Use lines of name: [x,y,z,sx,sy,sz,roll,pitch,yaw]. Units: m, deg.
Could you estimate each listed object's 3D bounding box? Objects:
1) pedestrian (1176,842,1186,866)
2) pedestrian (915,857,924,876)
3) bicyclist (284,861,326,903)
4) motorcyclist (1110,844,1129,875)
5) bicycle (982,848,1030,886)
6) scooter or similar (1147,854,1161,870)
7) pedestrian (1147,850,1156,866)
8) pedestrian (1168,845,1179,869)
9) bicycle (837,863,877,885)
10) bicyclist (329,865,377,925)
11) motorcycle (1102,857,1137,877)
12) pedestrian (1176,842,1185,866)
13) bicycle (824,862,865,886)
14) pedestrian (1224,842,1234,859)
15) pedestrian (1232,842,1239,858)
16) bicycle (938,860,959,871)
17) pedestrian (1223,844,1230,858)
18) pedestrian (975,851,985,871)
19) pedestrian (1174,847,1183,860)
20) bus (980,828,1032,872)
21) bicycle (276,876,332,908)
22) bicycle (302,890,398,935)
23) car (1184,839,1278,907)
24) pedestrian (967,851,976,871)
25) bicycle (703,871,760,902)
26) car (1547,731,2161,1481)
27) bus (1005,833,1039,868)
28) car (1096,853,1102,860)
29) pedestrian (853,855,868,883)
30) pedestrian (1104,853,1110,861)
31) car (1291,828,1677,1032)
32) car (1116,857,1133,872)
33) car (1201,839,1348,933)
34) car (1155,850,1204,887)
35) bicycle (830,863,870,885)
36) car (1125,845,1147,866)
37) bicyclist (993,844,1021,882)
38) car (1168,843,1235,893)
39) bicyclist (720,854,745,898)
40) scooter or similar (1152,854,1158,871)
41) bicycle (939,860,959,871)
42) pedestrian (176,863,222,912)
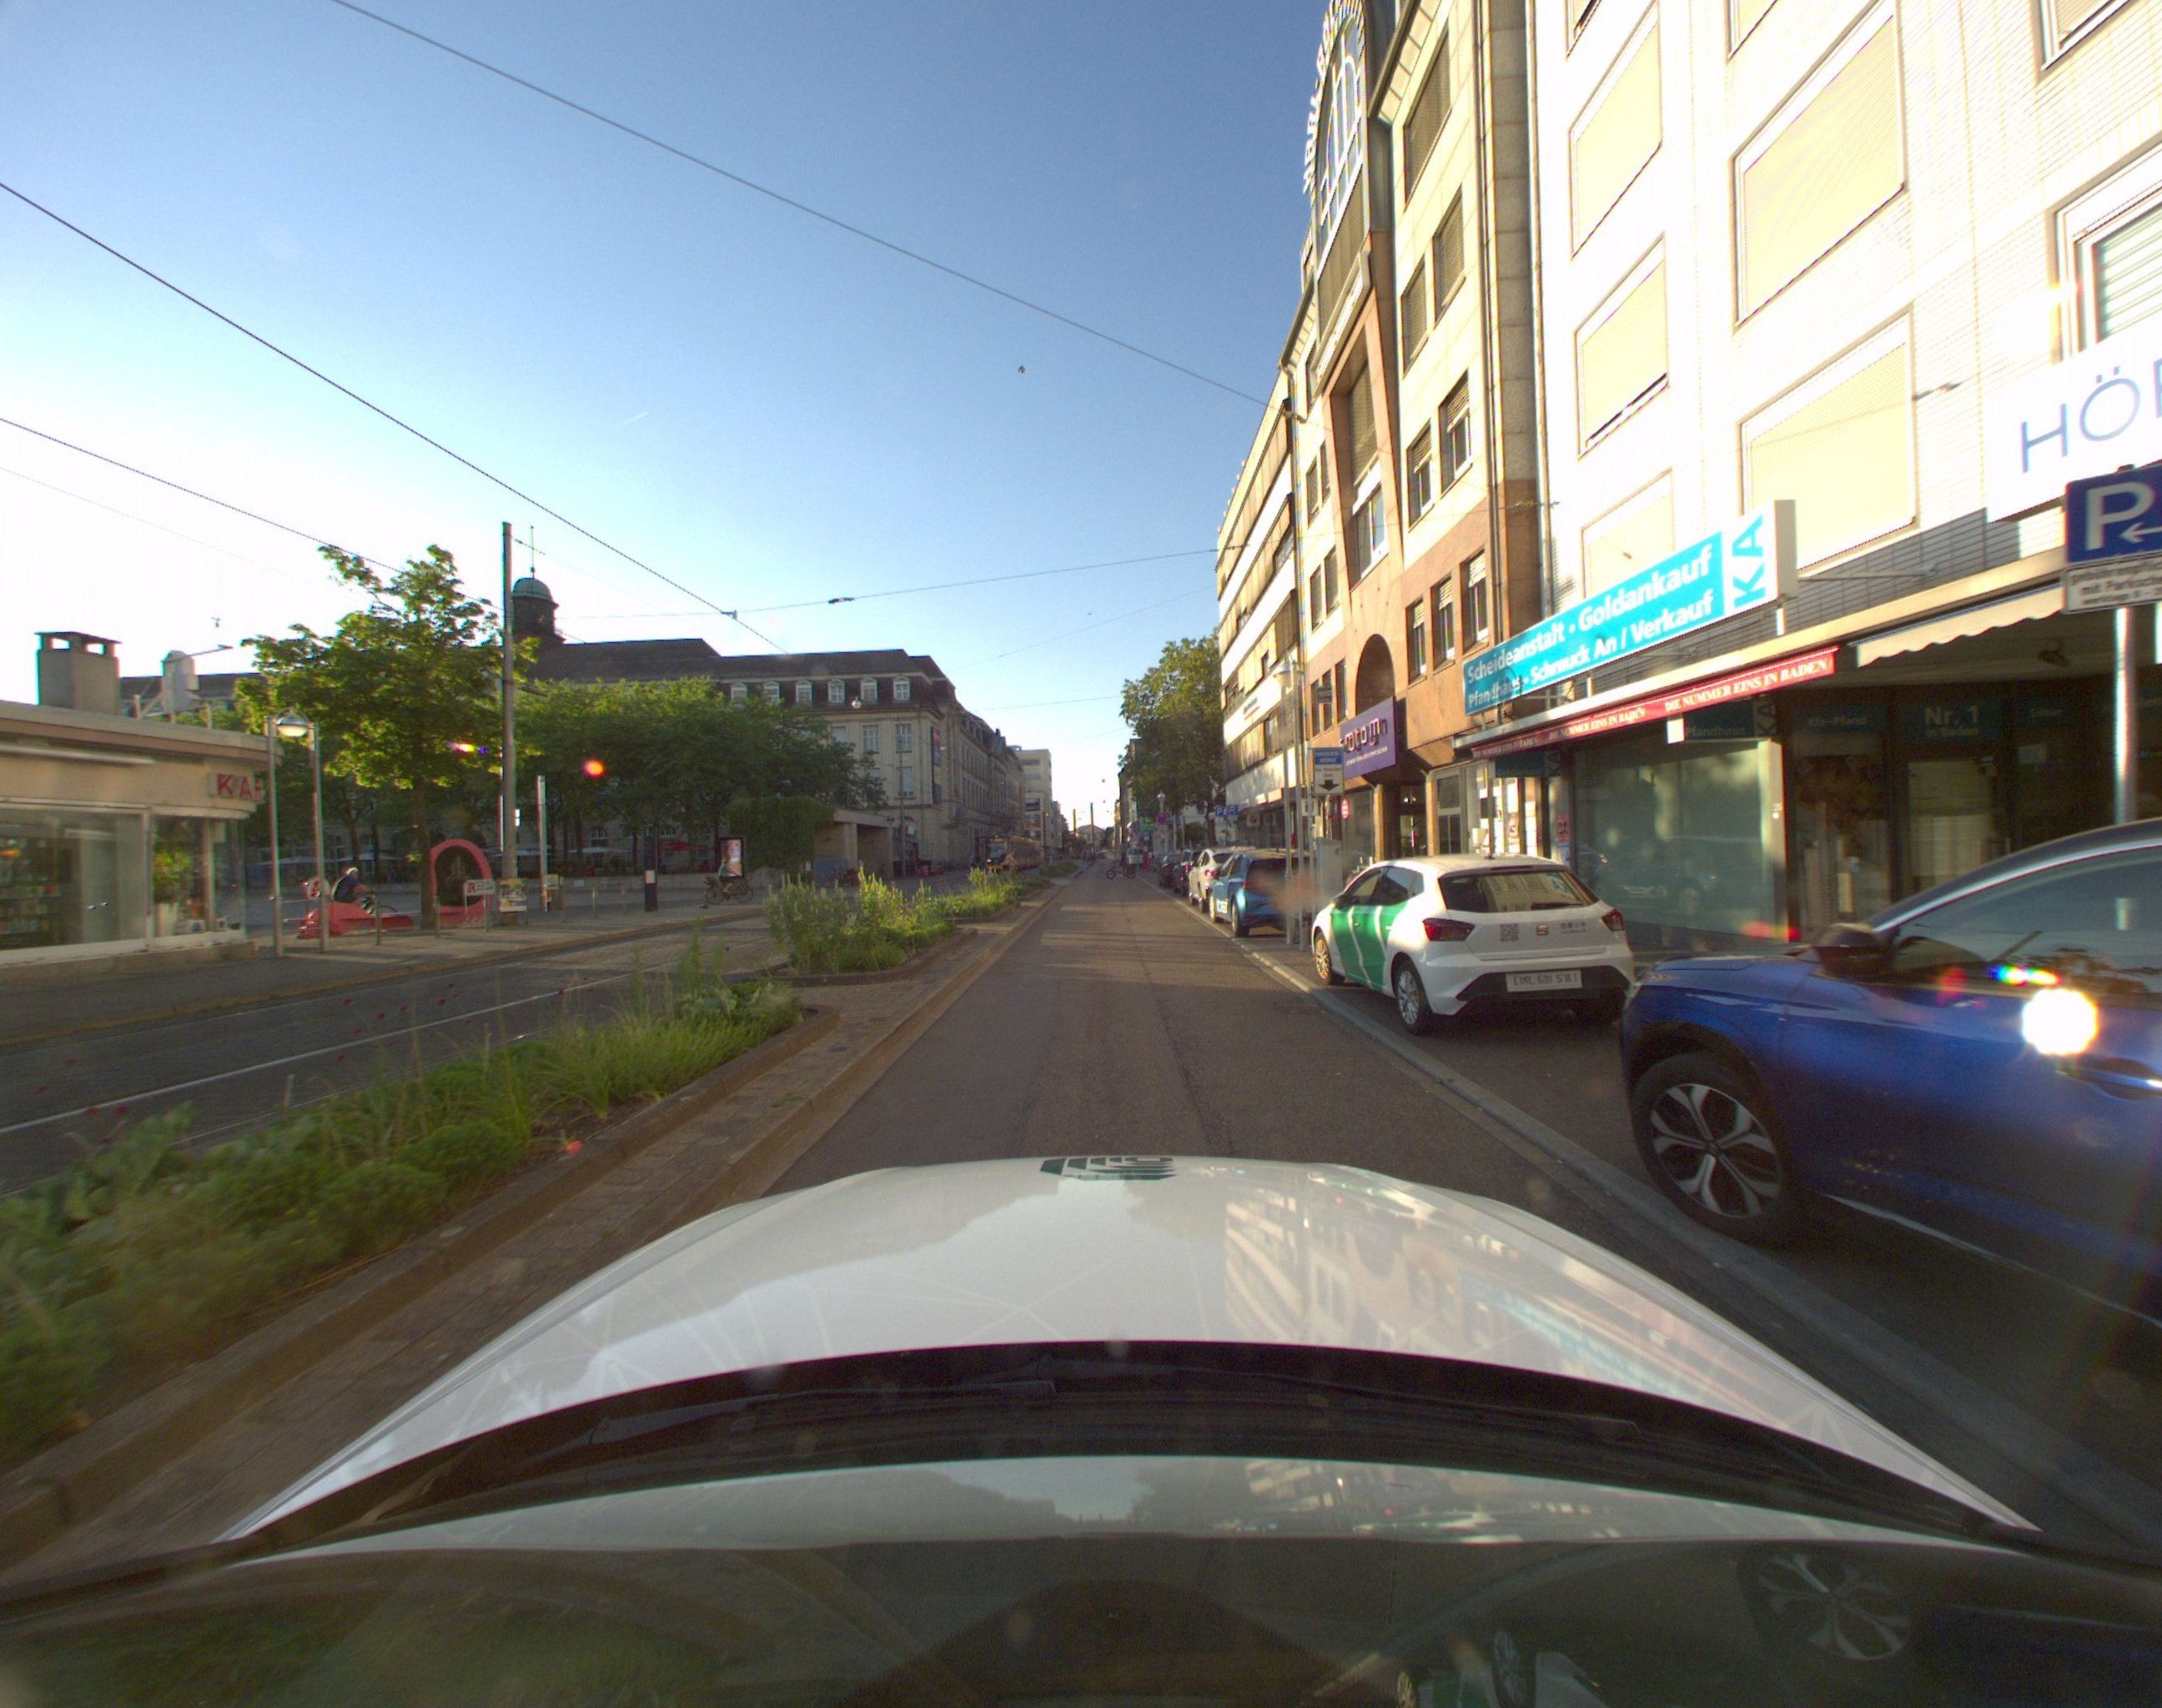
pedestrian: [7.253,0.000,59.024,0.675,1.717,0.655,-2,-2,3]
pedestrian: [-13.846,1.043,69.826,0.717,1.646,0.655,-1,0,-21]
bicyclist: [-38.923,1.396,40.859,0.955,2.018,1.143,-2,-2,0]
motorcyclist: [2.347,0.330,49.584,0.999,1.813,0.958,-2,-2,-3]
bicycle: [-3.633,0.607,39.547,2.381,1.740,0.596,-1,0,-43]
scooter or similar: [6.035,0.652,67.497,1.120,1.216,0.300,-3,-1,2]
pedestrian: [7.864,0.465,91.125,0.785,1.751,0.893,-2,-2,-6]
pedestrian: [7.001,0.213,61.571,0.711,1.803,0.825,-3,-1,4]
bicycle: [-13.947,1.246,50.708,2.233,1.232,0.585,-2,-1,1]
bicyclist: [-20.680,1.152,23.145,0.805,1.611,0.732,-3,0,-30]
motorcycle: [2.334,0.802,49.560,2.039,1.123,0.567,-2,-2,-4]
pedestrian: [7.286,0.028,59.690,0.611,1.717,0.662,-2,-2,3]
bicycle: [-13.815,1.148,47.508,2.189,1.300,0.580,-2,-2,1]
pedestrian: [12.053,-0.289,66.418,0.639,1.285,0.744,-3,-2,17]
pedestrian: [12.839,-0.296,67.657,0.470,1.285,0.542,-3,-2,17]
bicycle: [-14.006,1.212,86.040,2.092,1.148,0.574,-2,-2,-4]
pedestrian: [12.560,-0.253,70.170,0.470,1.242,0.542,-2,-2,16]
pedestrian: [-9.510,0.649,76.853,0.730,1.840,0.715,-2,-2,1]
pedestrian: [10.148,-0.094,84.914,0.820,1.306,0.869,-2,-2,0]
bus: [-6.967,-0.346,78.736,2.812,3.651,17.079,-2,0,2]
bicycle: [-39.036,1.904,40.940,2.234,1.476,0.579,-2,-1,0]
bicycle: [-20.707,1.636,23.102,1.934,1.112,0.456,-3,-1,-30]
car: [3.907,0.446,21.951,1.809,1.585,4.726,-2,0,3]
pedestrian: [-10.320,0.684,76.882,0.690,1.847,0.662,-2,-2,1]
bicycle: [-13.574,1.242,31.644,1.946,1.112,0.455,-1,-2,-39]
car: [3.178,0.515,1.894,1.759,1.605,4.288,-2,0,1]
bus: [-6.573,-0.407,91.438,2.812,3.624,8.293,-2,1,2]
car: [5.220,0.591,232.306,1.754,1.827,3.571,-2,-2,1]
pedestrian: [-15.432,1.054,57.058,0.721,1.934,0.793,-2,-2,4]
pedestrian: [6.199,0.650,195.860,1.231,1.928,1.017,-1,0,-15]
car: [3.507,0.603,8.081,1.725,1.435,4.151,-2,-1,0]
car: [5.641,1.372,105.502,1.986,1.761,4.422,-2,-1,1]
car: [3.658,0.543,16.290,1.803,1.552,4.836,-2,0,1]
car: [4.264,0.584,35.763,1.649,1.380,4.342,-5,0,2]
bicycle: [-13.896,1.212,49.036,2.233,1.255,0.580,-2,-2,1]
car: [5.387,0.177,80.648,1.908,1.981,4.422,-2,0,1]
bicyclist: [-3.582,0.432,39.507,0.936,1.776,0.960,-2,0,-34]
car: [4.246,0.435,29.235,1.769,1.538,4.579,-2,1,1]
bicyclist: [-13.559,0.843,31.673,0.708,1.668,0.621,0,-2,-38]
scooter or similar: [5.456,0.611,60.190,0.313,1.221,1.275,-2,0,8]
bicycle: [-14.051,1.231,86.708,2.073,1.148,0.574,-2,-2,-4]
pedestrian: [-38.660,1.445,35.722,0.935,2.060,0.930,-1,0,-4]
